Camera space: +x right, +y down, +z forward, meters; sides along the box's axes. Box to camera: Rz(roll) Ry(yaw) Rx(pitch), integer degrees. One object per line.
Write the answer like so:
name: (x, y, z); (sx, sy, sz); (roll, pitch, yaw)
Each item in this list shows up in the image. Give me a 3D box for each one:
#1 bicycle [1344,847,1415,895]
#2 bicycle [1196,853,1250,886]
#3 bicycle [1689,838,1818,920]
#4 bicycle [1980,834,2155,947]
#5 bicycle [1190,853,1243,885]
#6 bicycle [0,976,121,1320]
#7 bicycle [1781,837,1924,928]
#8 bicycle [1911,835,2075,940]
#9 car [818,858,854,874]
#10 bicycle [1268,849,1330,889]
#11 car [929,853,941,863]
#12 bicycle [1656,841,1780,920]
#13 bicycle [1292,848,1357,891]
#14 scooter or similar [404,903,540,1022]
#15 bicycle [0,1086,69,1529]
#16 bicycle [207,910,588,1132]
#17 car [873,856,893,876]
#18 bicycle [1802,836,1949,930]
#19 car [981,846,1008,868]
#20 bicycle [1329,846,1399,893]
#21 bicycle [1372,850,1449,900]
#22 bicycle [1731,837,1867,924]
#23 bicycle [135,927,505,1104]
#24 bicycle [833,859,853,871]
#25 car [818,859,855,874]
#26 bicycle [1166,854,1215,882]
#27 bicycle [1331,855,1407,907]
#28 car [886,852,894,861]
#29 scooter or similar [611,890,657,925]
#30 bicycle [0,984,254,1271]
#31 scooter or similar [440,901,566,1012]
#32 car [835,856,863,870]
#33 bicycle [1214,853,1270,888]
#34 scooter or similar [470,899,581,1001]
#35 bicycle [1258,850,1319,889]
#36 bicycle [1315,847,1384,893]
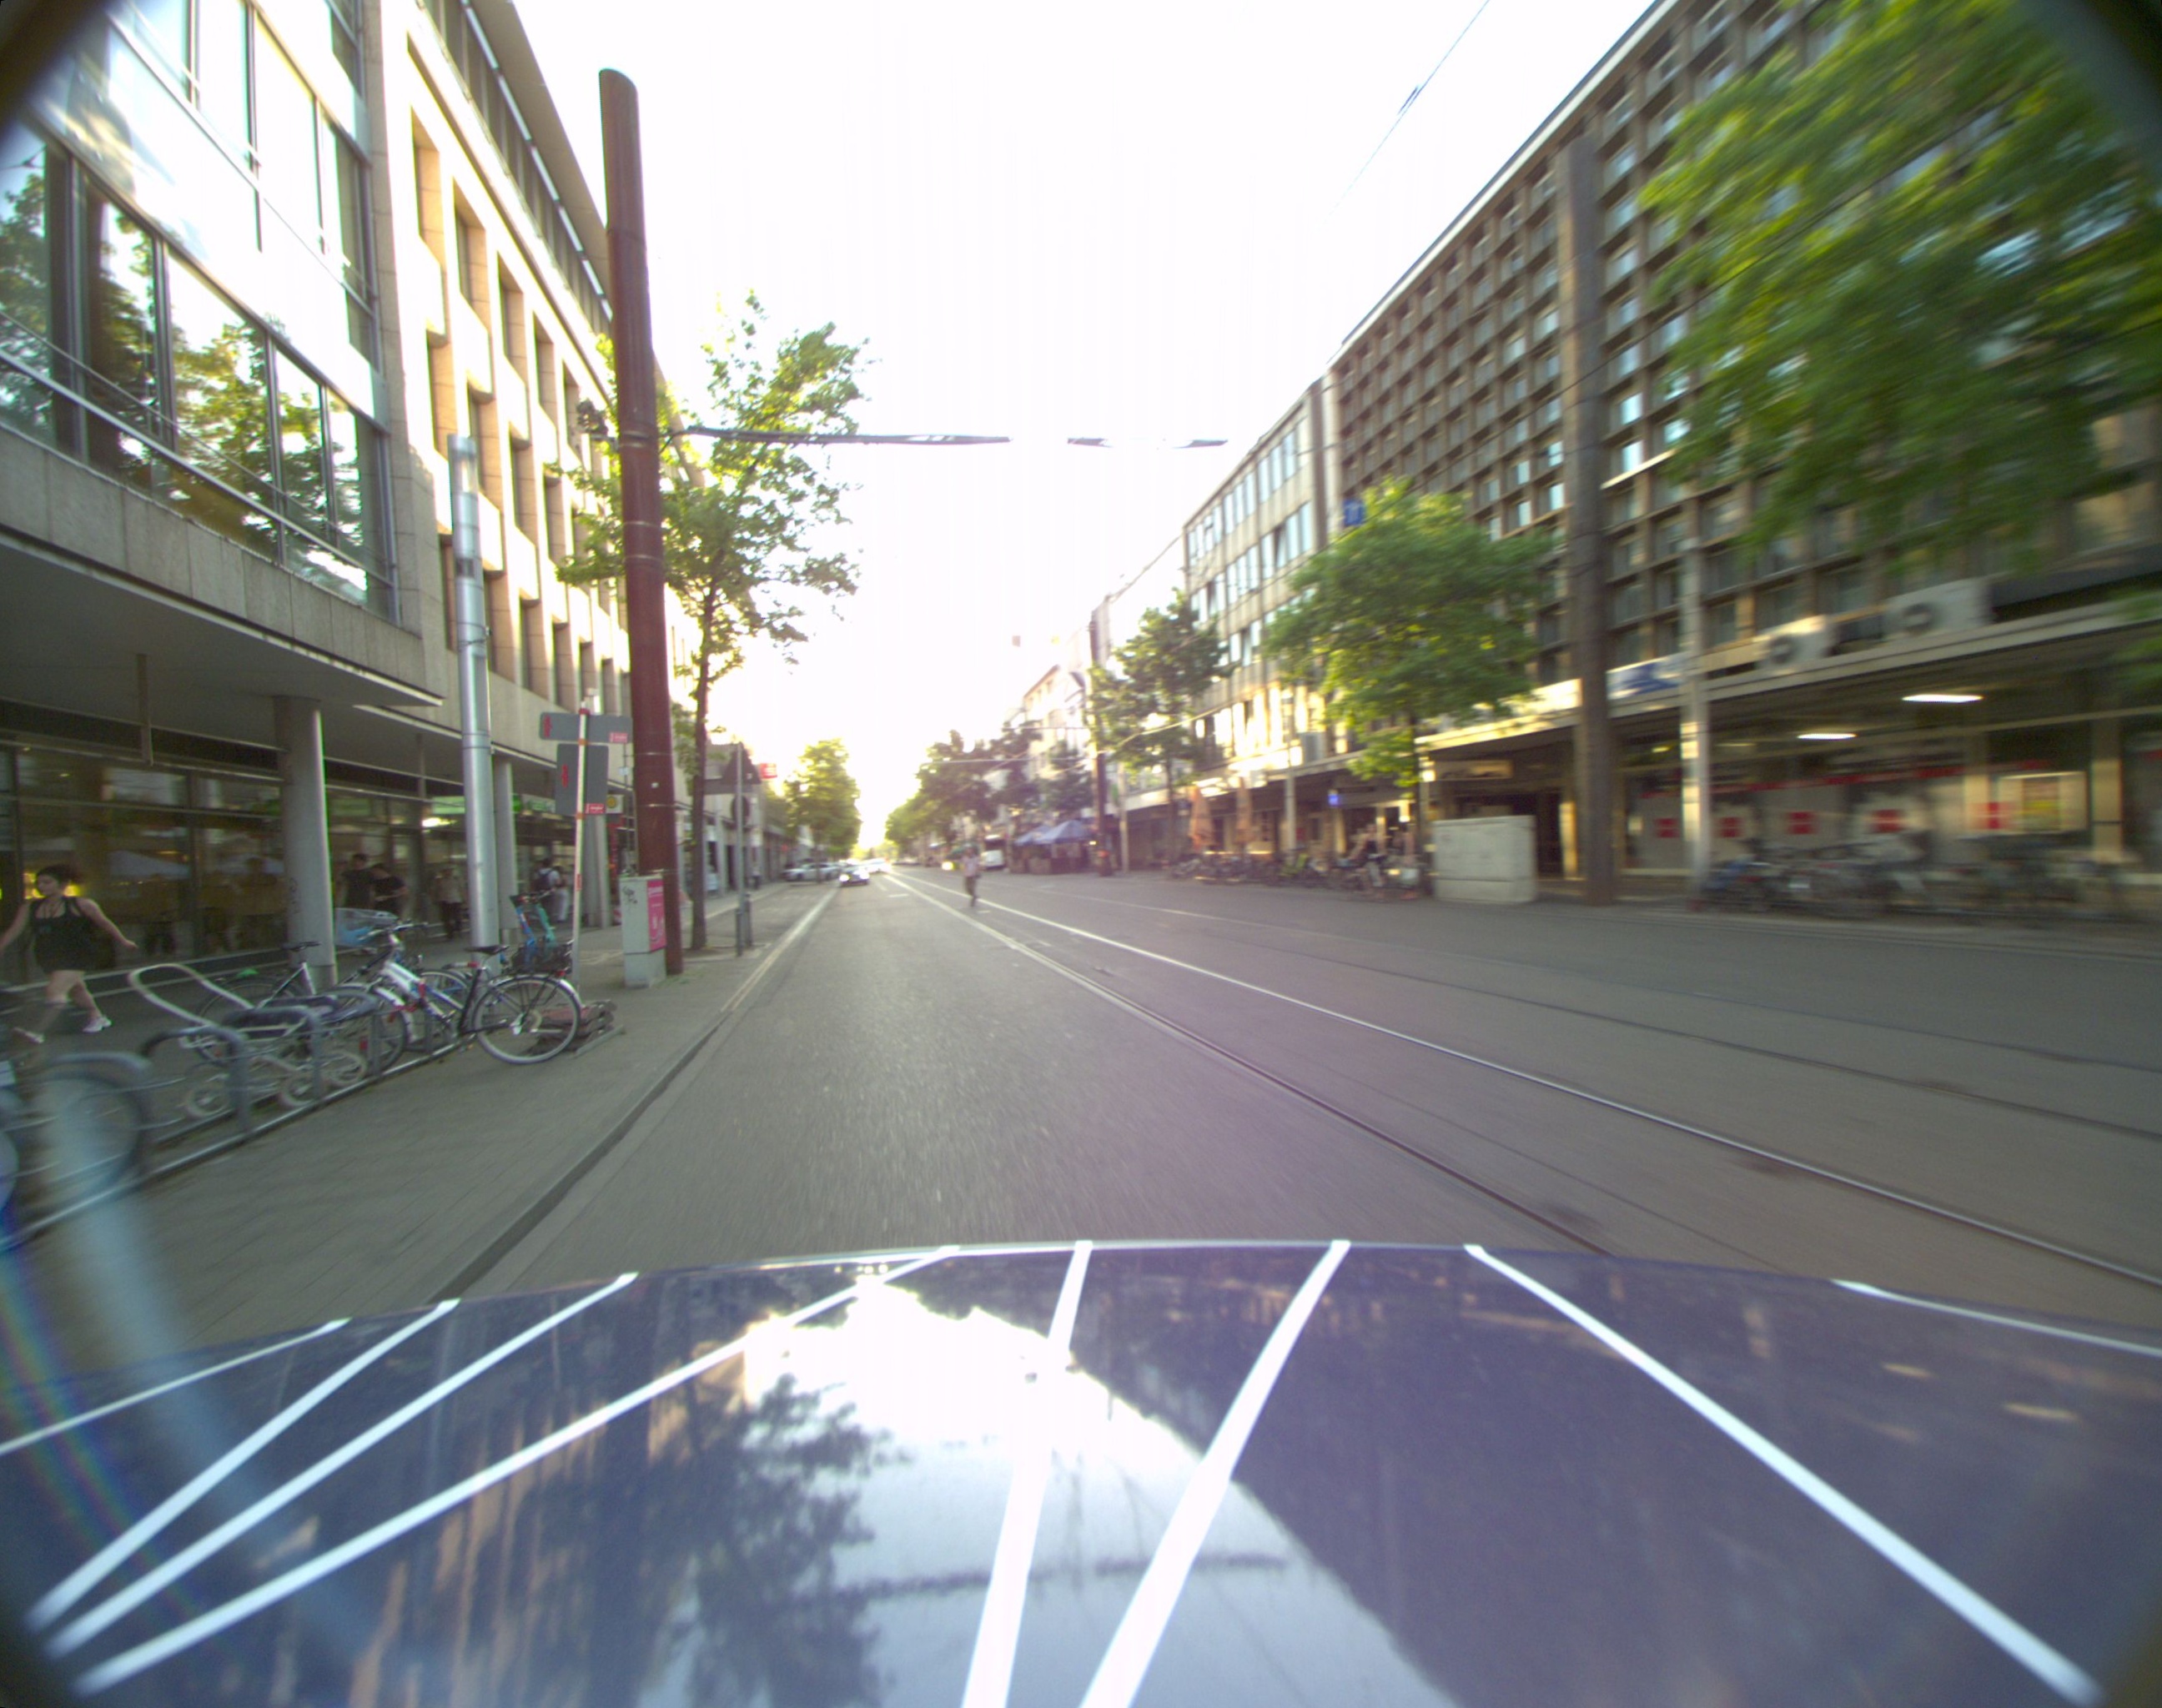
bicycle: (7.604, 0.423, 19.338); (1.779, 1.065, 0.488); (-5, 1, -21)
bicycle: (4.934, 0.535, 26.362); (1.779, 0.984, 0.489); (-4, 0, -21)
bicycle: (9.837, 0.352, 11.113); (1.778, 1.039, 0.489); (-4, 1, -15)
bicycle: (10.633, 0.364, 8.189); (1.778, 1.039, 0.489); (-4, 1, -15)
bicycle: (4.784, 0.534, 26.868); (1.779, 0.984, 0.489); (-4, 0, -21)
bicycle: (-5.019, 1.149, 2.664); (1.923, 1.215, 0.762); (0, 0, -20)
bicycle: (10.166, 0.355, 10.012); (1.778, 1.039, 0.489); (-4, 1, -15)
bicycle: (10.513, 0.360, 8.757); (1.778, 1.039, 0.489); (-4, 1, -15)
car: (-32.639, 1.590, 101.262); (4.006, 1.776, 1.860); (-6, 2, -39)
bicycle: (6.564, 0.440, 22.841); (1.779, 1.065, 0.488); (-5, 1, -21)
car: (-25.093, 0.702, 130.512); (1.801, 1.501, 3.995); (-2, 0, -15)
bicycle: (9.712, 0.388, 11.587); (1.778, 1.039, 0.489); (-4, 1, -15)
bicycle: (6.944, 0.428, 21.661); (1.779, 1.065, 0.488); (-5, 1, -21)
scooter or similar: (-7.186, 1.241, 9.019); (0.392, 1.244, 1.193); (-1, 0, 23)
bicycle: (-3.655, 1.218, 1.537); (1.860, 1.102, 0.665); (-1, 1, -18)
bicycle: (-4.829, 1.124, 5.554); (1.923, 1.325, 0.724); (0, 0, -20)
car: (-21.803, 1.308, 83.658); (2.001, 2.002, 3.995); (-2, 0, -15)
bicycle: (10.228, 0.356, 9.778); (1.778, 1.039, 0.489); (-4, 1, -15)
car: (-8.125, 0.299, 71.277); (1.832, 1.811, 4.324); (-6, 1, -14)
bicycle: (7.437, 0.401, 19.968); (1.779, 1.065, 0.488); (-5, 1, -21)
bicycle: (7.402, 0.469, 17.144); (0.490, 1.039, 1.775); (-3, 0, -18)
bicycle: (9.989, 0.355, 10.562); (1.778, 1.039, 0.489); (-4, 1, -15)
bicycle: (-6.041, 1.239, 6.199); (2.004, 1.148, 0.724); (0, 0, -20)
bicycle: (-24.450, 1.125, 78.009); (1.867, 1.067, 0.731); (-3, 2, -16)
car: (-31.117, 1.558, 96.800); (1.860, 1.502, 4.006); (-3, 2, 45)
bicycle: (4.226, 0.537, 29.353); (1.776, 0.960, 0.489); (-4, 2, 1)
bicycle: (6.186, 0.565, 16.425); (0.490, 1.039, 1.775); (-3, 0, -18)
car: (-48.661, 0.661, 193.682); (2.001, 2.002, 3.995); (-2, 0, -15)
scooter or similar: (-12.526, 1.487, 21.303); (0.835, 0.879, 0.686); (-4, 2, -1)
bicycle: (-5.213, 1.236, 3.384); (1.923, 1.071, 0.762); (0, 0, -20)
scooter or similar: (-7.280, 1.253, 9.603); (1.193, 1.244, 0.392); (-2, 0, -45)
car: (-34.762, 1.345, 114.167); (1.861, 1.776, 4.004); (-4, 2, 19)
bicycle: (5.306, 0.540, 25.002); (1.779, 0.984, 0.489); (-4, 0, -21)
scooter or similar: (-7.524, 1.265, 10.316); (0.495, 1.244, 1.118); (-1, 0, 44)
bicycle: (6.392, 0.470, 23.392); (1.779, 1.065, 0.488); (-5, 1, -21)
bicycle: (7.239, 0.425, 20.478); (1.779, 1.065, 0.488); (-5, 1, -21)
